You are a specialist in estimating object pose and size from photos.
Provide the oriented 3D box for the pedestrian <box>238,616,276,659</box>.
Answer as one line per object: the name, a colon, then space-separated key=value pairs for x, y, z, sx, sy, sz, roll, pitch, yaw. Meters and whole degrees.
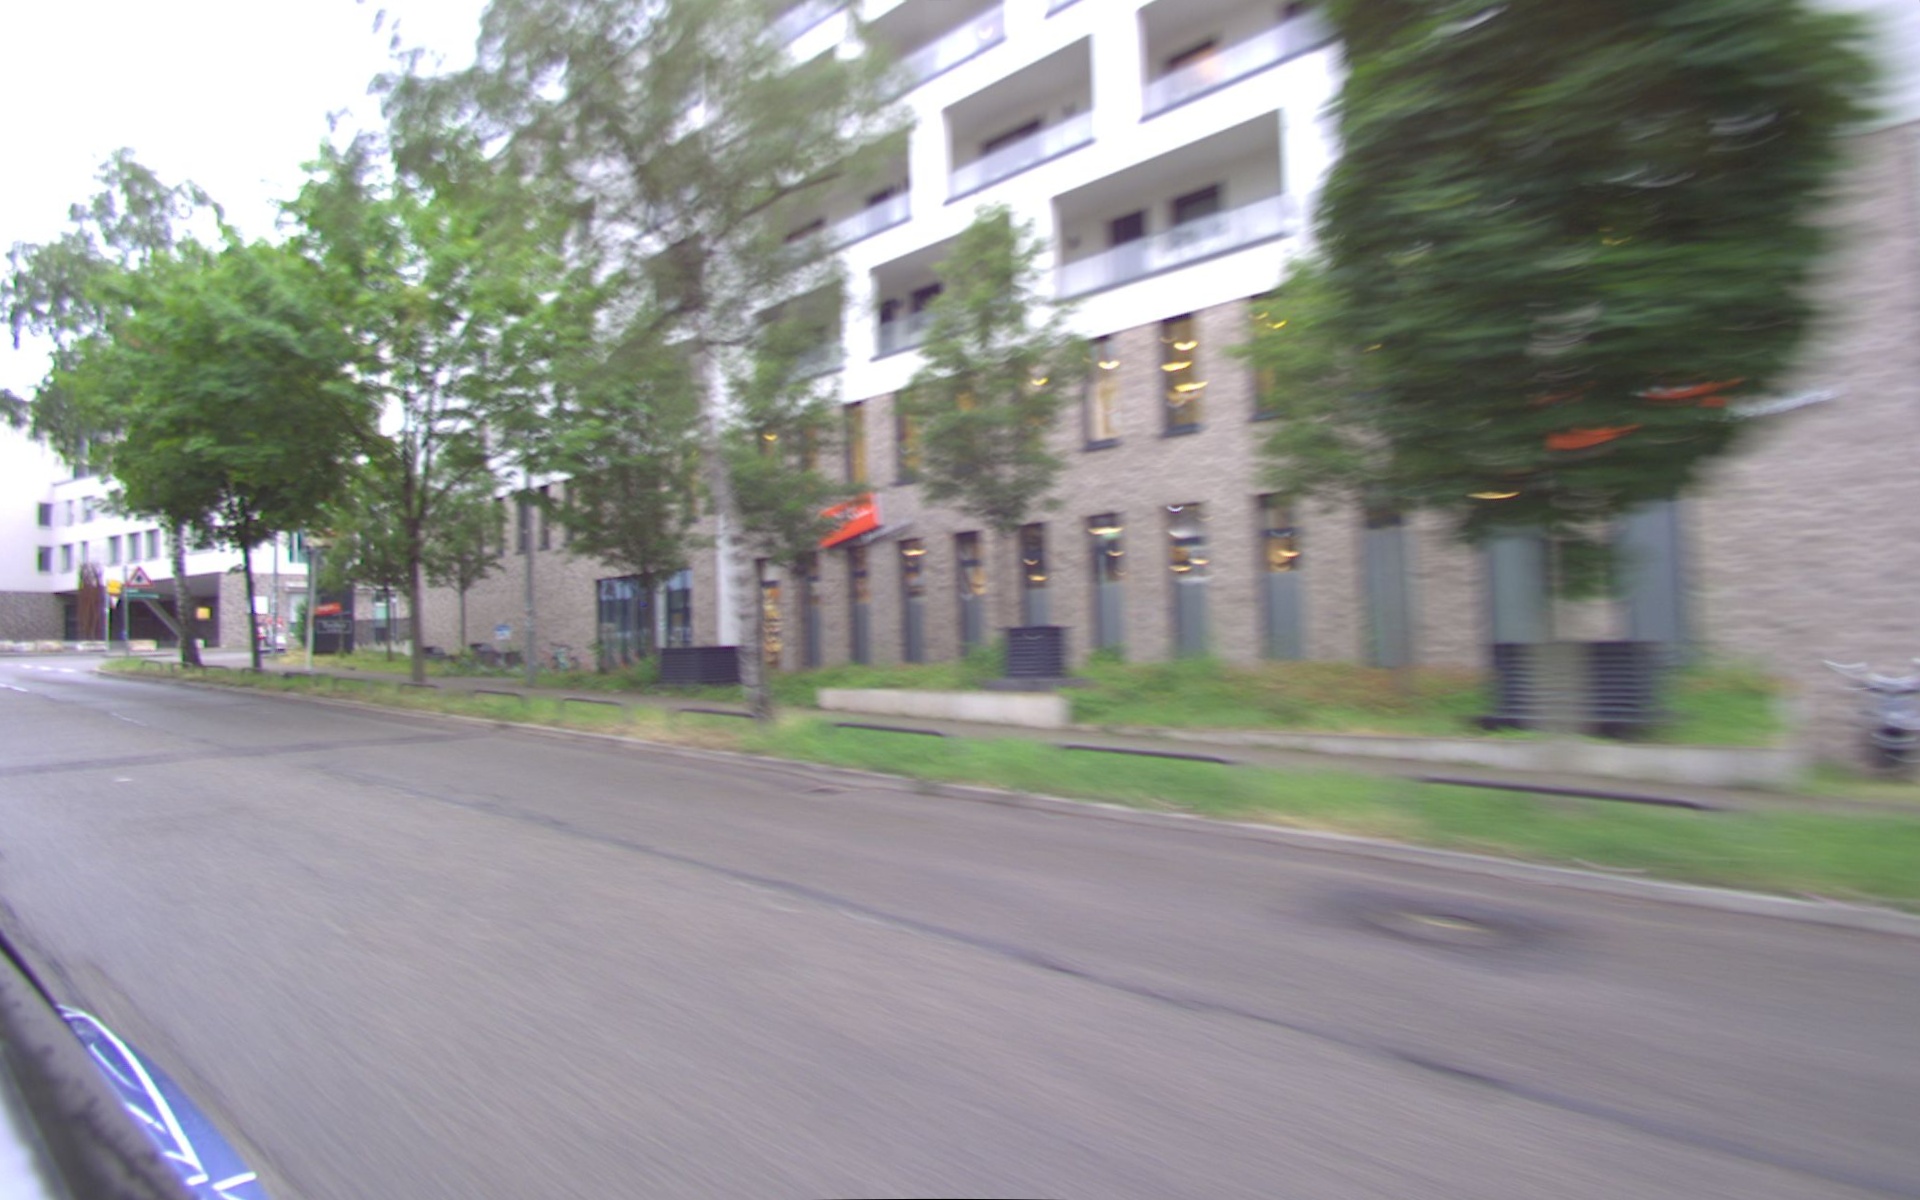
pedestrian: x=-33.745 y=1.795 z=48.606 sx=1.088 sy=2.029 sz=1.055 roll=0 pitch=0 yaw=11

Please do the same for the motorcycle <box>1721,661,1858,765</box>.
motorcycle: x=8.076 y=1.047 z=9.819 sx=1.979 sy=0.814 sz=0.719 roll=0 pitch=-1 yaw=-42
